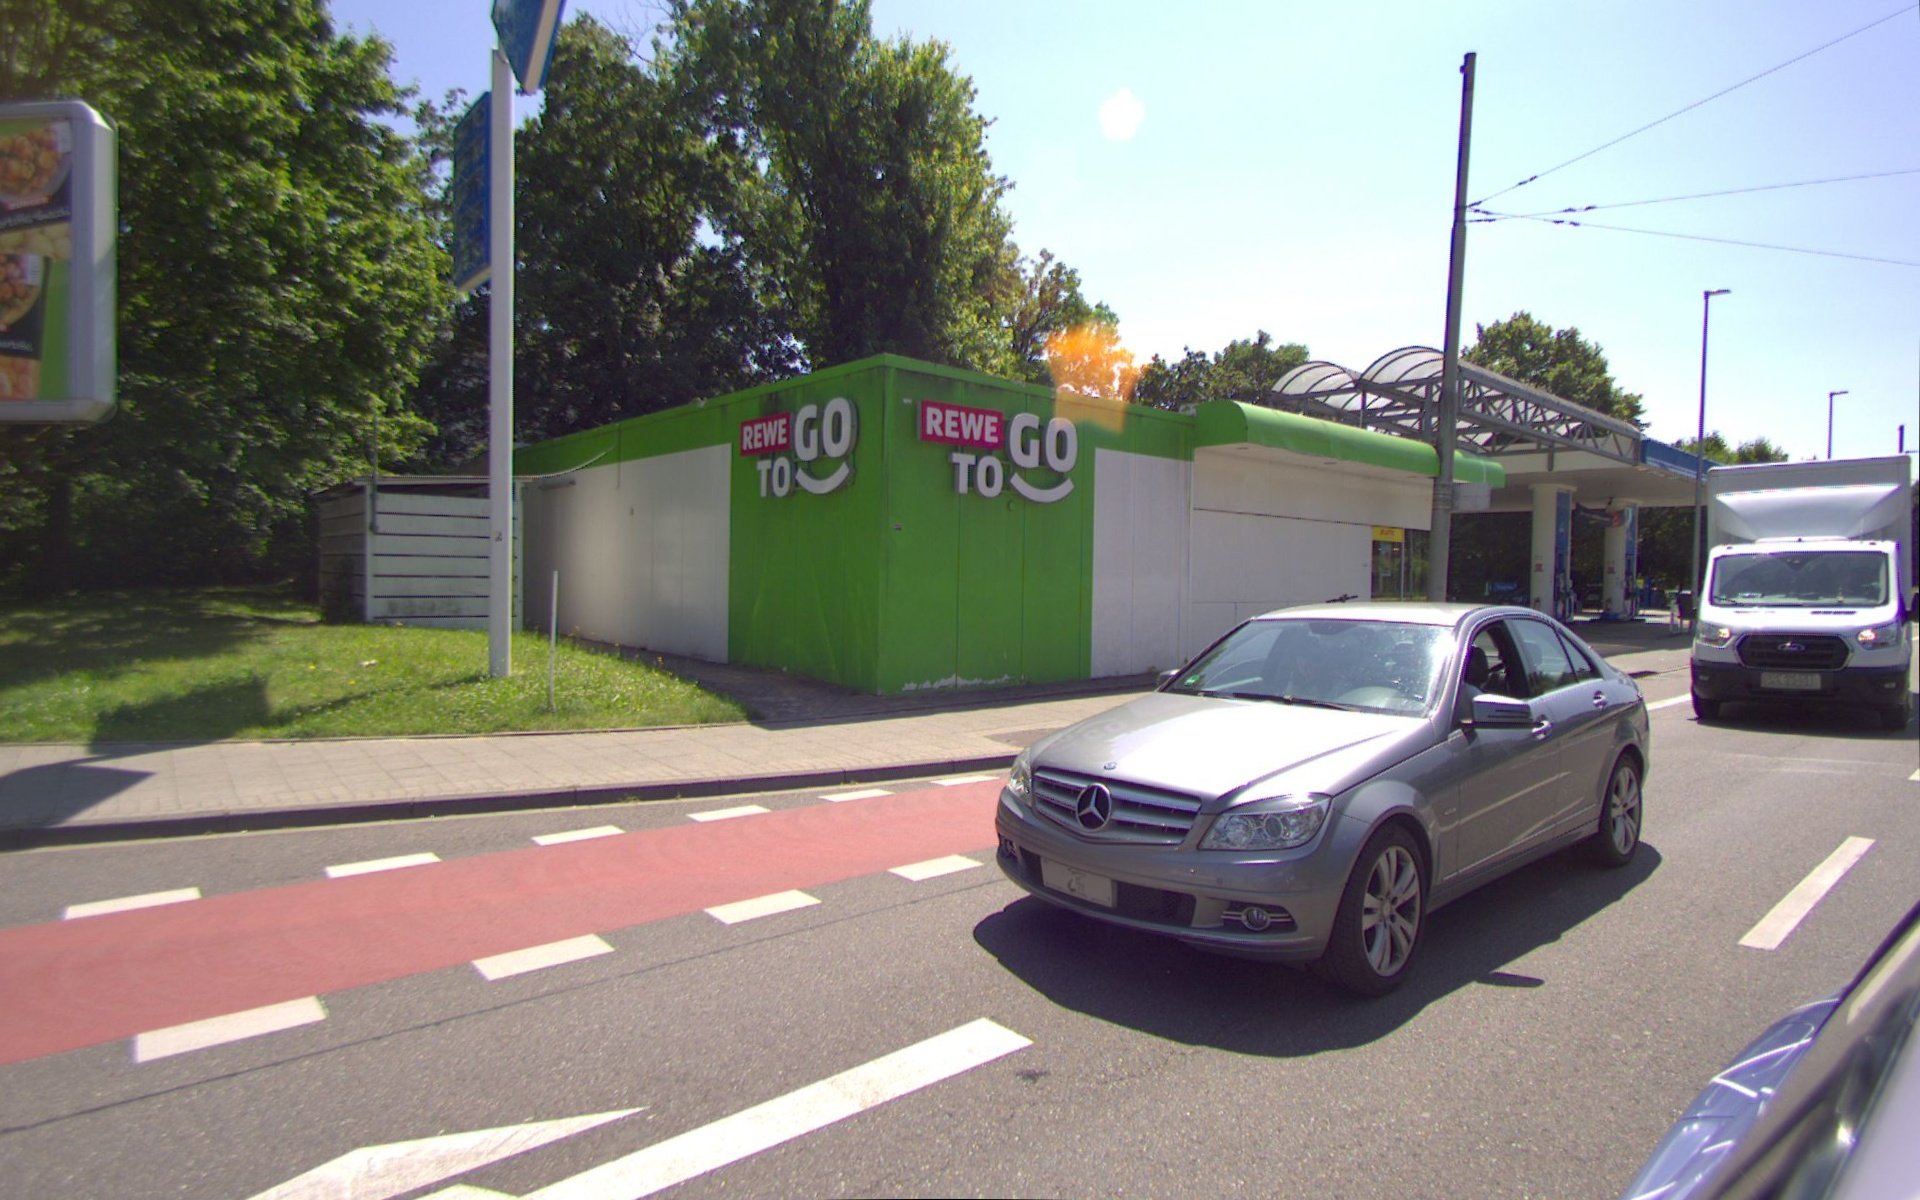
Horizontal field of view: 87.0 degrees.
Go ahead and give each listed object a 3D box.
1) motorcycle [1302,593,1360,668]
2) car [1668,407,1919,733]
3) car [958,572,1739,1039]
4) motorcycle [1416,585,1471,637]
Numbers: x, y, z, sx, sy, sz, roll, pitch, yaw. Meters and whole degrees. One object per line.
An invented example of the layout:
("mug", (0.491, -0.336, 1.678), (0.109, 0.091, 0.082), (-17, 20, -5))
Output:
("motorcycle", (5.885, 0.469, 16.038), (1.098, 1.118, 0.253), (-1, 8, -41))
("car", (12.135, -0.367, 14.298), (2.223, 3.377, 8.500), (-1, 0, 44))
("car", (2.525, 0.659, 5.578), (5.207, 1.492, 1.716), (0, 0, -40))
("motorcycle", (12.366, 0.274, 25.909), (0.357, 1.225, 1.156), (2, 2, -42))
